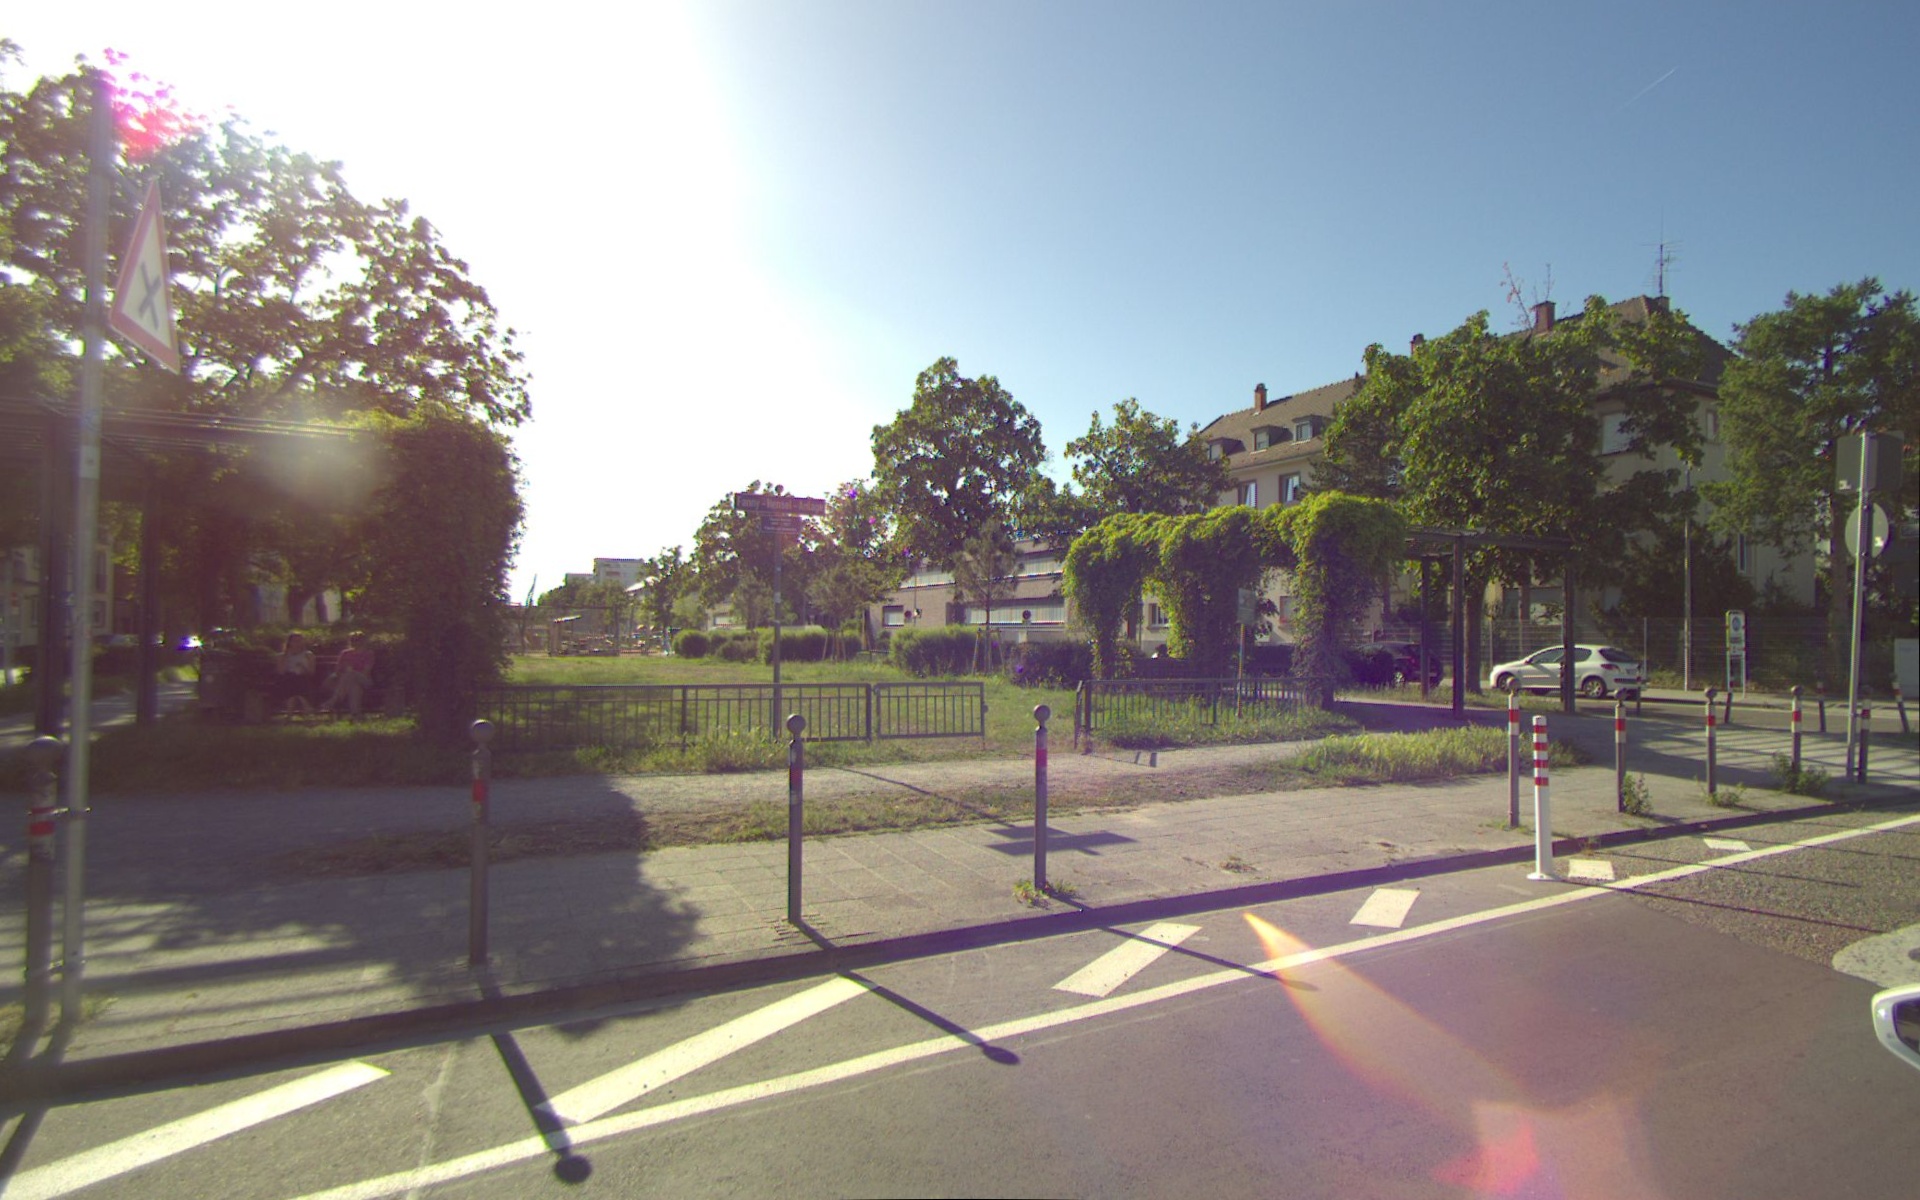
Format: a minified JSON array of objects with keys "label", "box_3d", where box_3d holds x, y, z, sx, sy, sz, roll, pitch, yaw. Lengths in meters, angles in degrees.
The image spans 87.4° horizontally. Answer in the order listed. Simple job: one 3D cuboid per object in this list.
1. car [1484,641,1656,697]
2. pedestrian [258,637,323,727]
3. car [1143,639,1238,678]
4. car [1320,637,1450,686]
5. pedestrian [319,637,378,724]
[{"label":"car","box_3d":[16.750,1.862,27.761,1.685,1.416,3.751,2,-3,-27]},{"label":"pedestrian","box_3d":[-9.044,1.084,13.597,0.591,1.164,0.841,1,-2,-26]},{"label":"car","box_3d":[9.603,2.429,42.072,1.778,1.514,3.973,2,-3,-27]},{"label":"car","box_3d":[13.886,1.978,33.013,1.655,1.514,3.801,2,-3,-27]},{"label":"pedestrian","box_3d":[-8.439,1.097,13.889,0.591,1.153,0.869,1,-2,-26]}]
